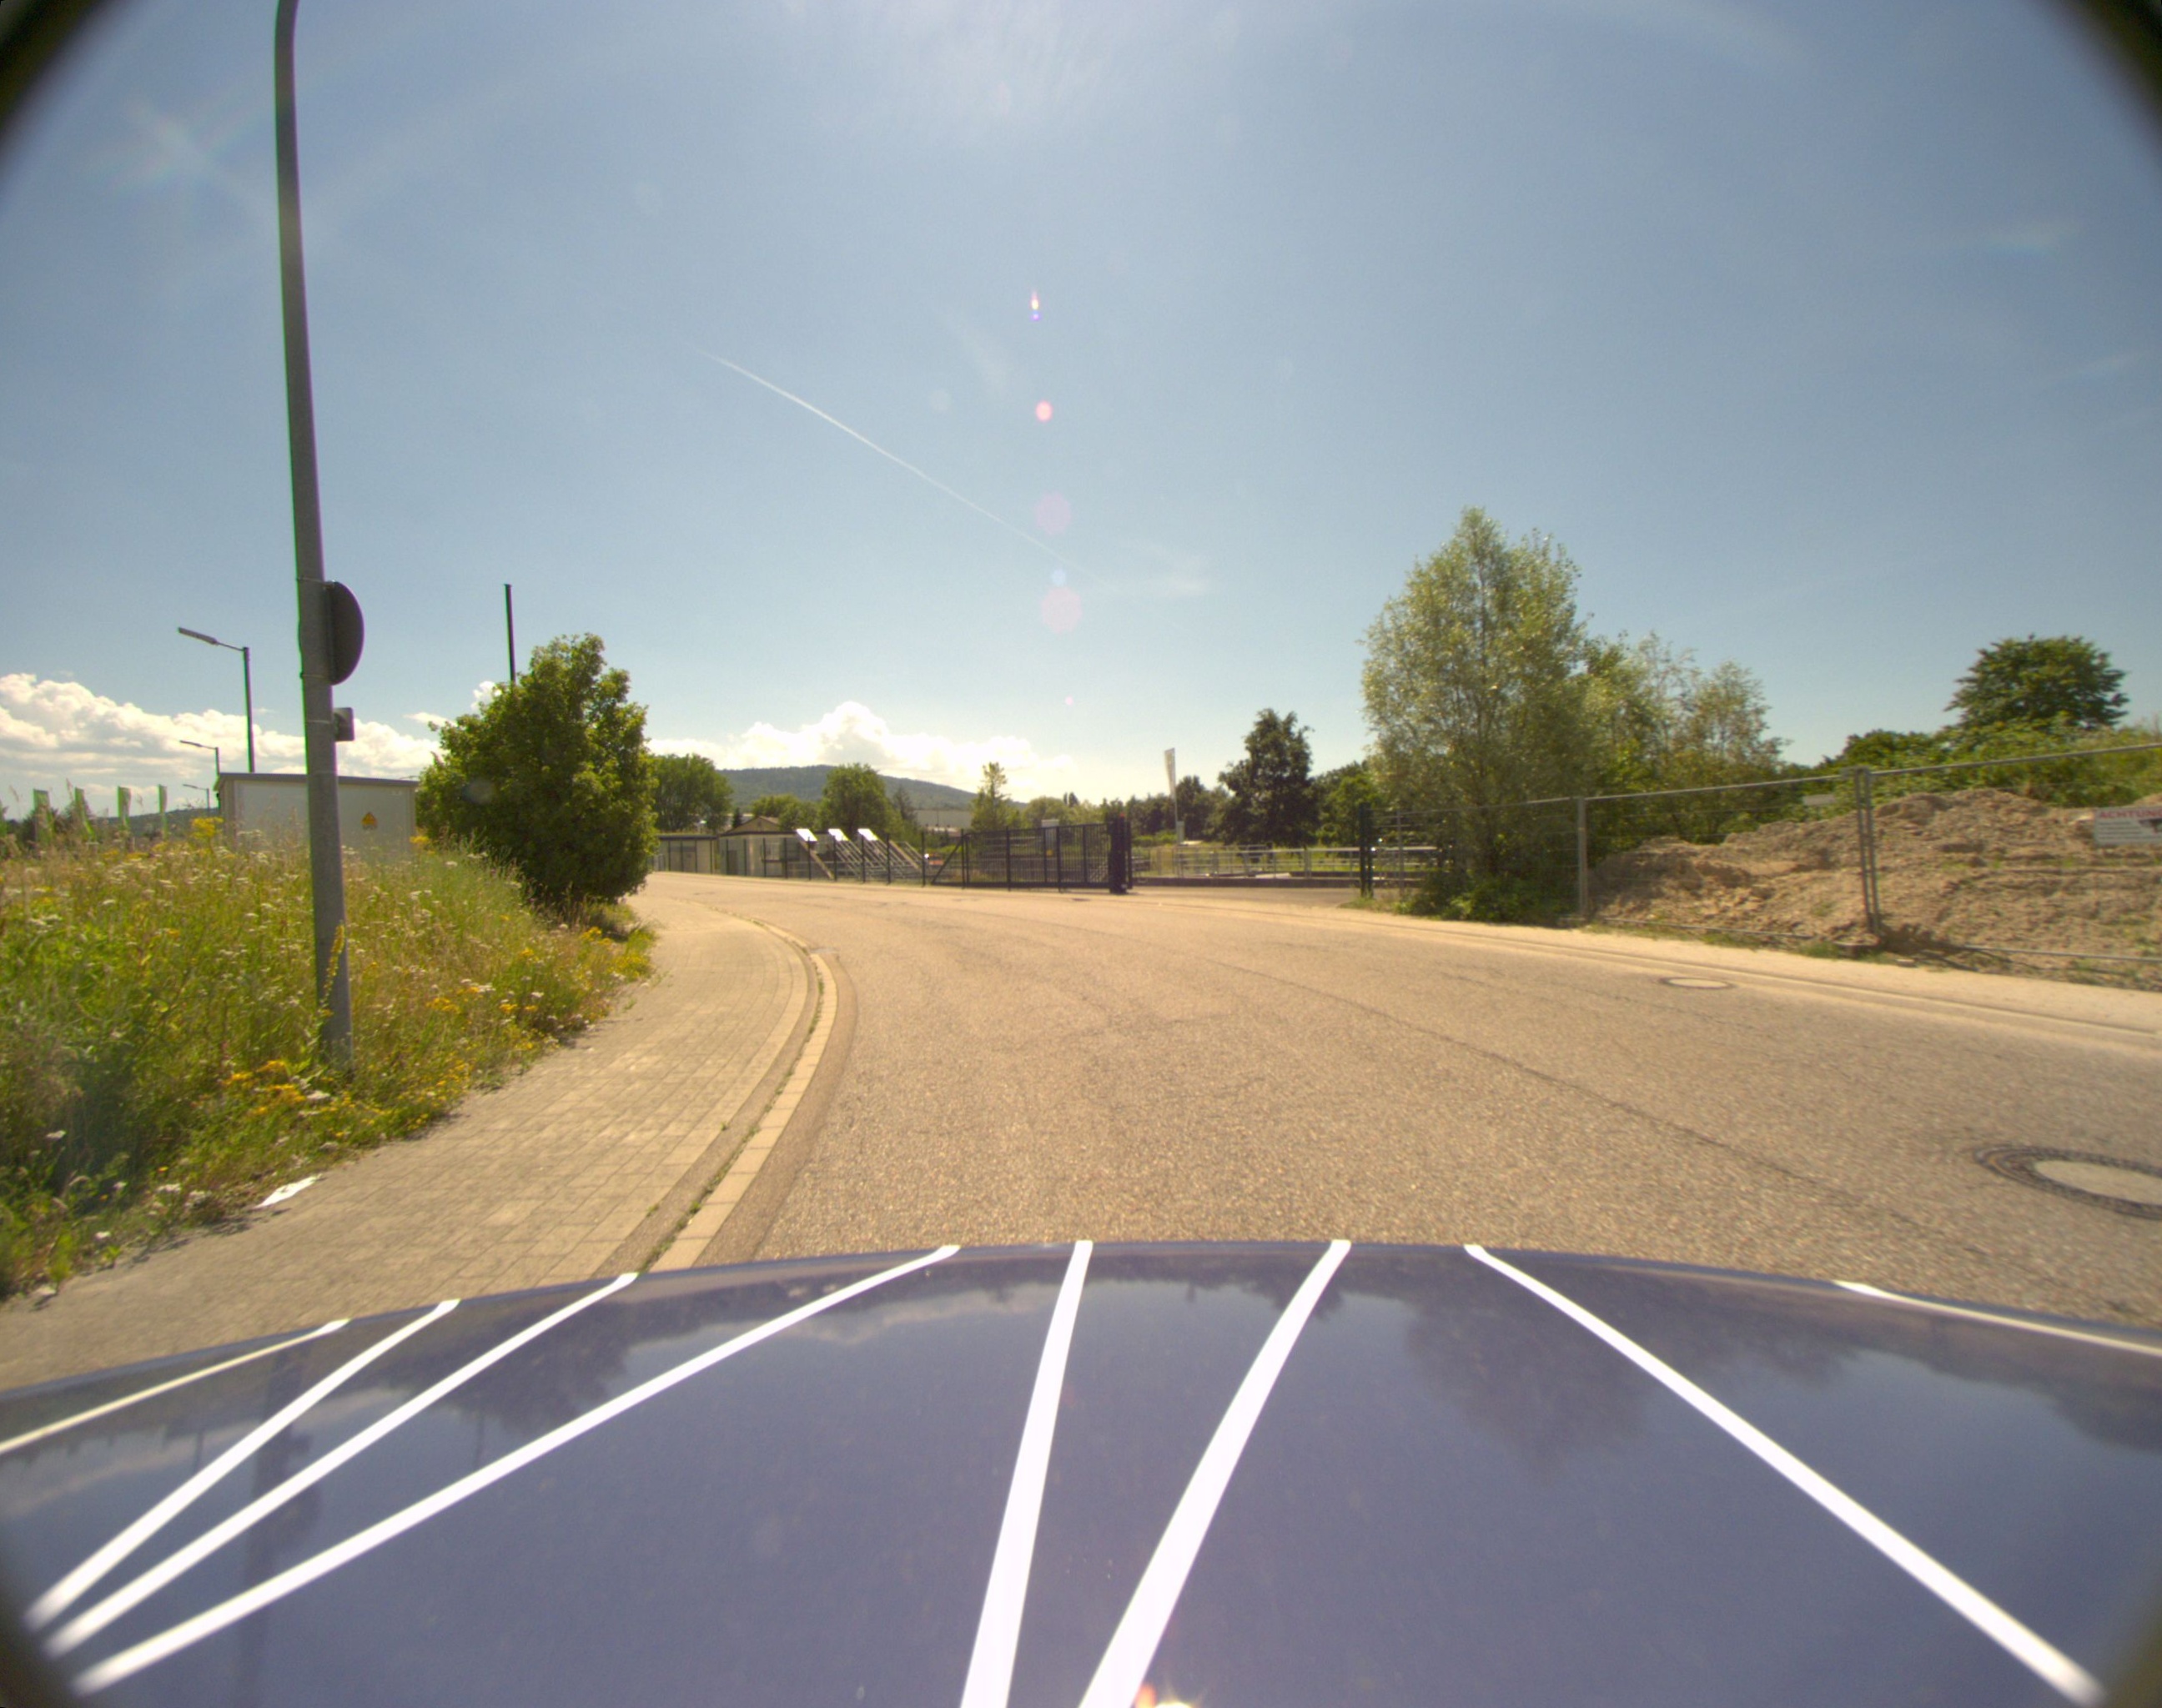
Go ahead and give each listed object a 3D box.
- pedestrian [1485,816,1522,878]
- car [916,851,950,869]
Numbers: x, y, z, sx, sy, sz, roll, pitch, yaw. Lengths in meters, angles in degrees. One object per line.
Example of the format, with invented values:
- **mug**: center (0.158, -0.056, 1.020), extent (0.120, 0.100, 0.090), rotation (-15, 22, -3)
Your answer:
- **pedestrian**: center (14.920, -0.245, 26.843), extent (0.914, 2.138, 0.881), rotation (-1, 0, 41)
- **car**: center (-14.351, 0.574, 73.573), extent (1.803, 1.608, 3.990), rotation (-2, 1, -33)
